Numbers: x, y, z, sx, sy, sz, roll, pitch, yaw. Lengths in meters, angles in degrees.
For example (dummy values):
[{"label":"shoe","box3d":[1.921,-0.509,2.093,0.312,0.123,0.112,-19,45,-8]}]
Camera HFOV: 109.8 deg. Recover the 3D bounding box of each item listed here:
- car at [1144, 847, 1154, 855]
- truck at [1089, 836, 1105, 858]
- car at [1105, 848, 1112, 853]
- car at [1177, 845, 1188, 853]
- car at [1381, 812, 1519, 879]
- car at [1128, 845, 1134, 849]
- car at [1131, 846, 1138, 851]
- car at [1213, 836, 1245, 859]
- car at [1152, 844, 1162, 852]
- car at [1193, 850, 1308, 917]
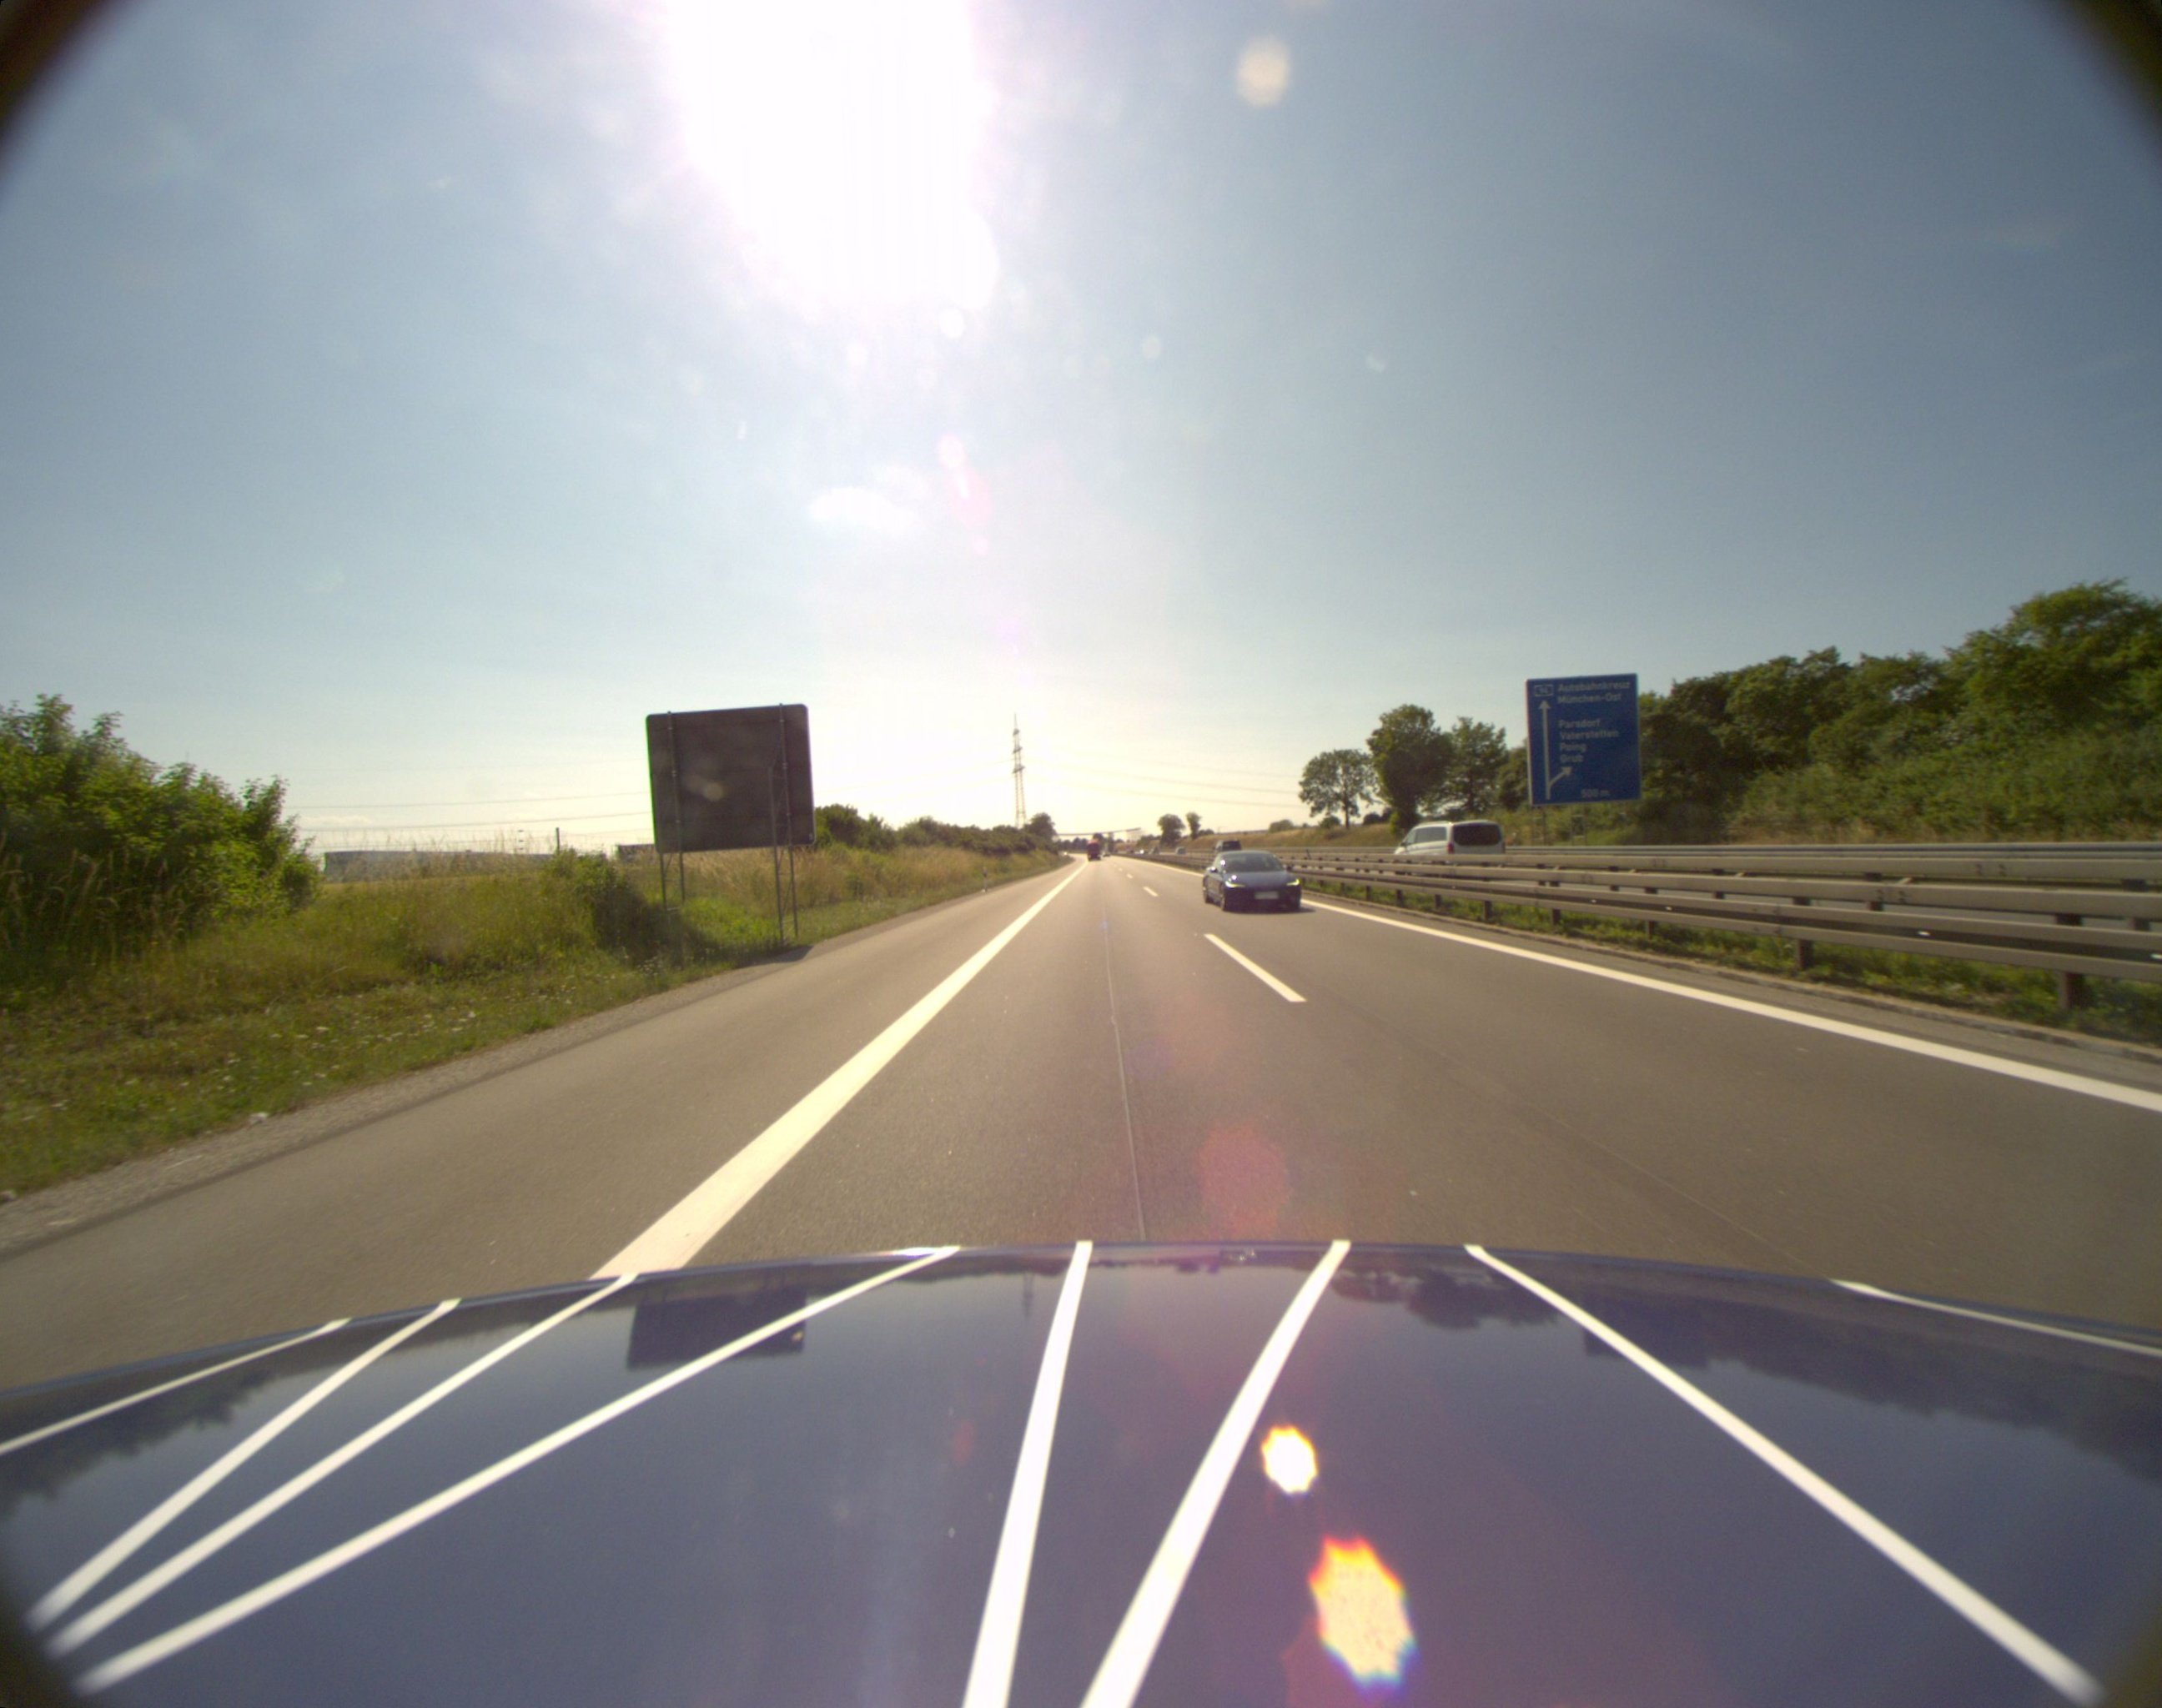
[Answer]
[{"label":"car","box3d":[15.160,-0.722,168.988,1.950,1.560,4.587,-4,1,2]},{"label":"truck","box3d":[2.940,-1.309,145.039,2.570,3.939,8.642,-5,1,0]},{"label":"car","box3d":[7.086,-0.880,195.656,1.860,1.361,3.999,-2,1,1]},{"label":"car","box3d":[18.756,-0.957,140.481,1.526,1.344,4.232,-4,0,2]},{"label":"car","box3d":[12.522,-0.271,26.313,1.998,1.978,5.691,-3,0,1]},{"label":"car","box3d":[17.446,-2.509,266.387,1.729,1.459,5.241,-4,0,1]},{"label":"car","box3d":[15.379,-1.558,218.039,1.620,1.522,4.000,-4,1,2]},{"label":"car","box3d":[13.366,-0.584,68.853,1.998,1.961,5.039,-3,0,1]},{"label":"car","box3d":[19.038,-1.481,190.741,1.950,1.835,5.184,-4,1,2]},{"label":"car","box3d":[4.297,0.659,20.263,1.852,1.424,5.865,-2,1,1]}]
